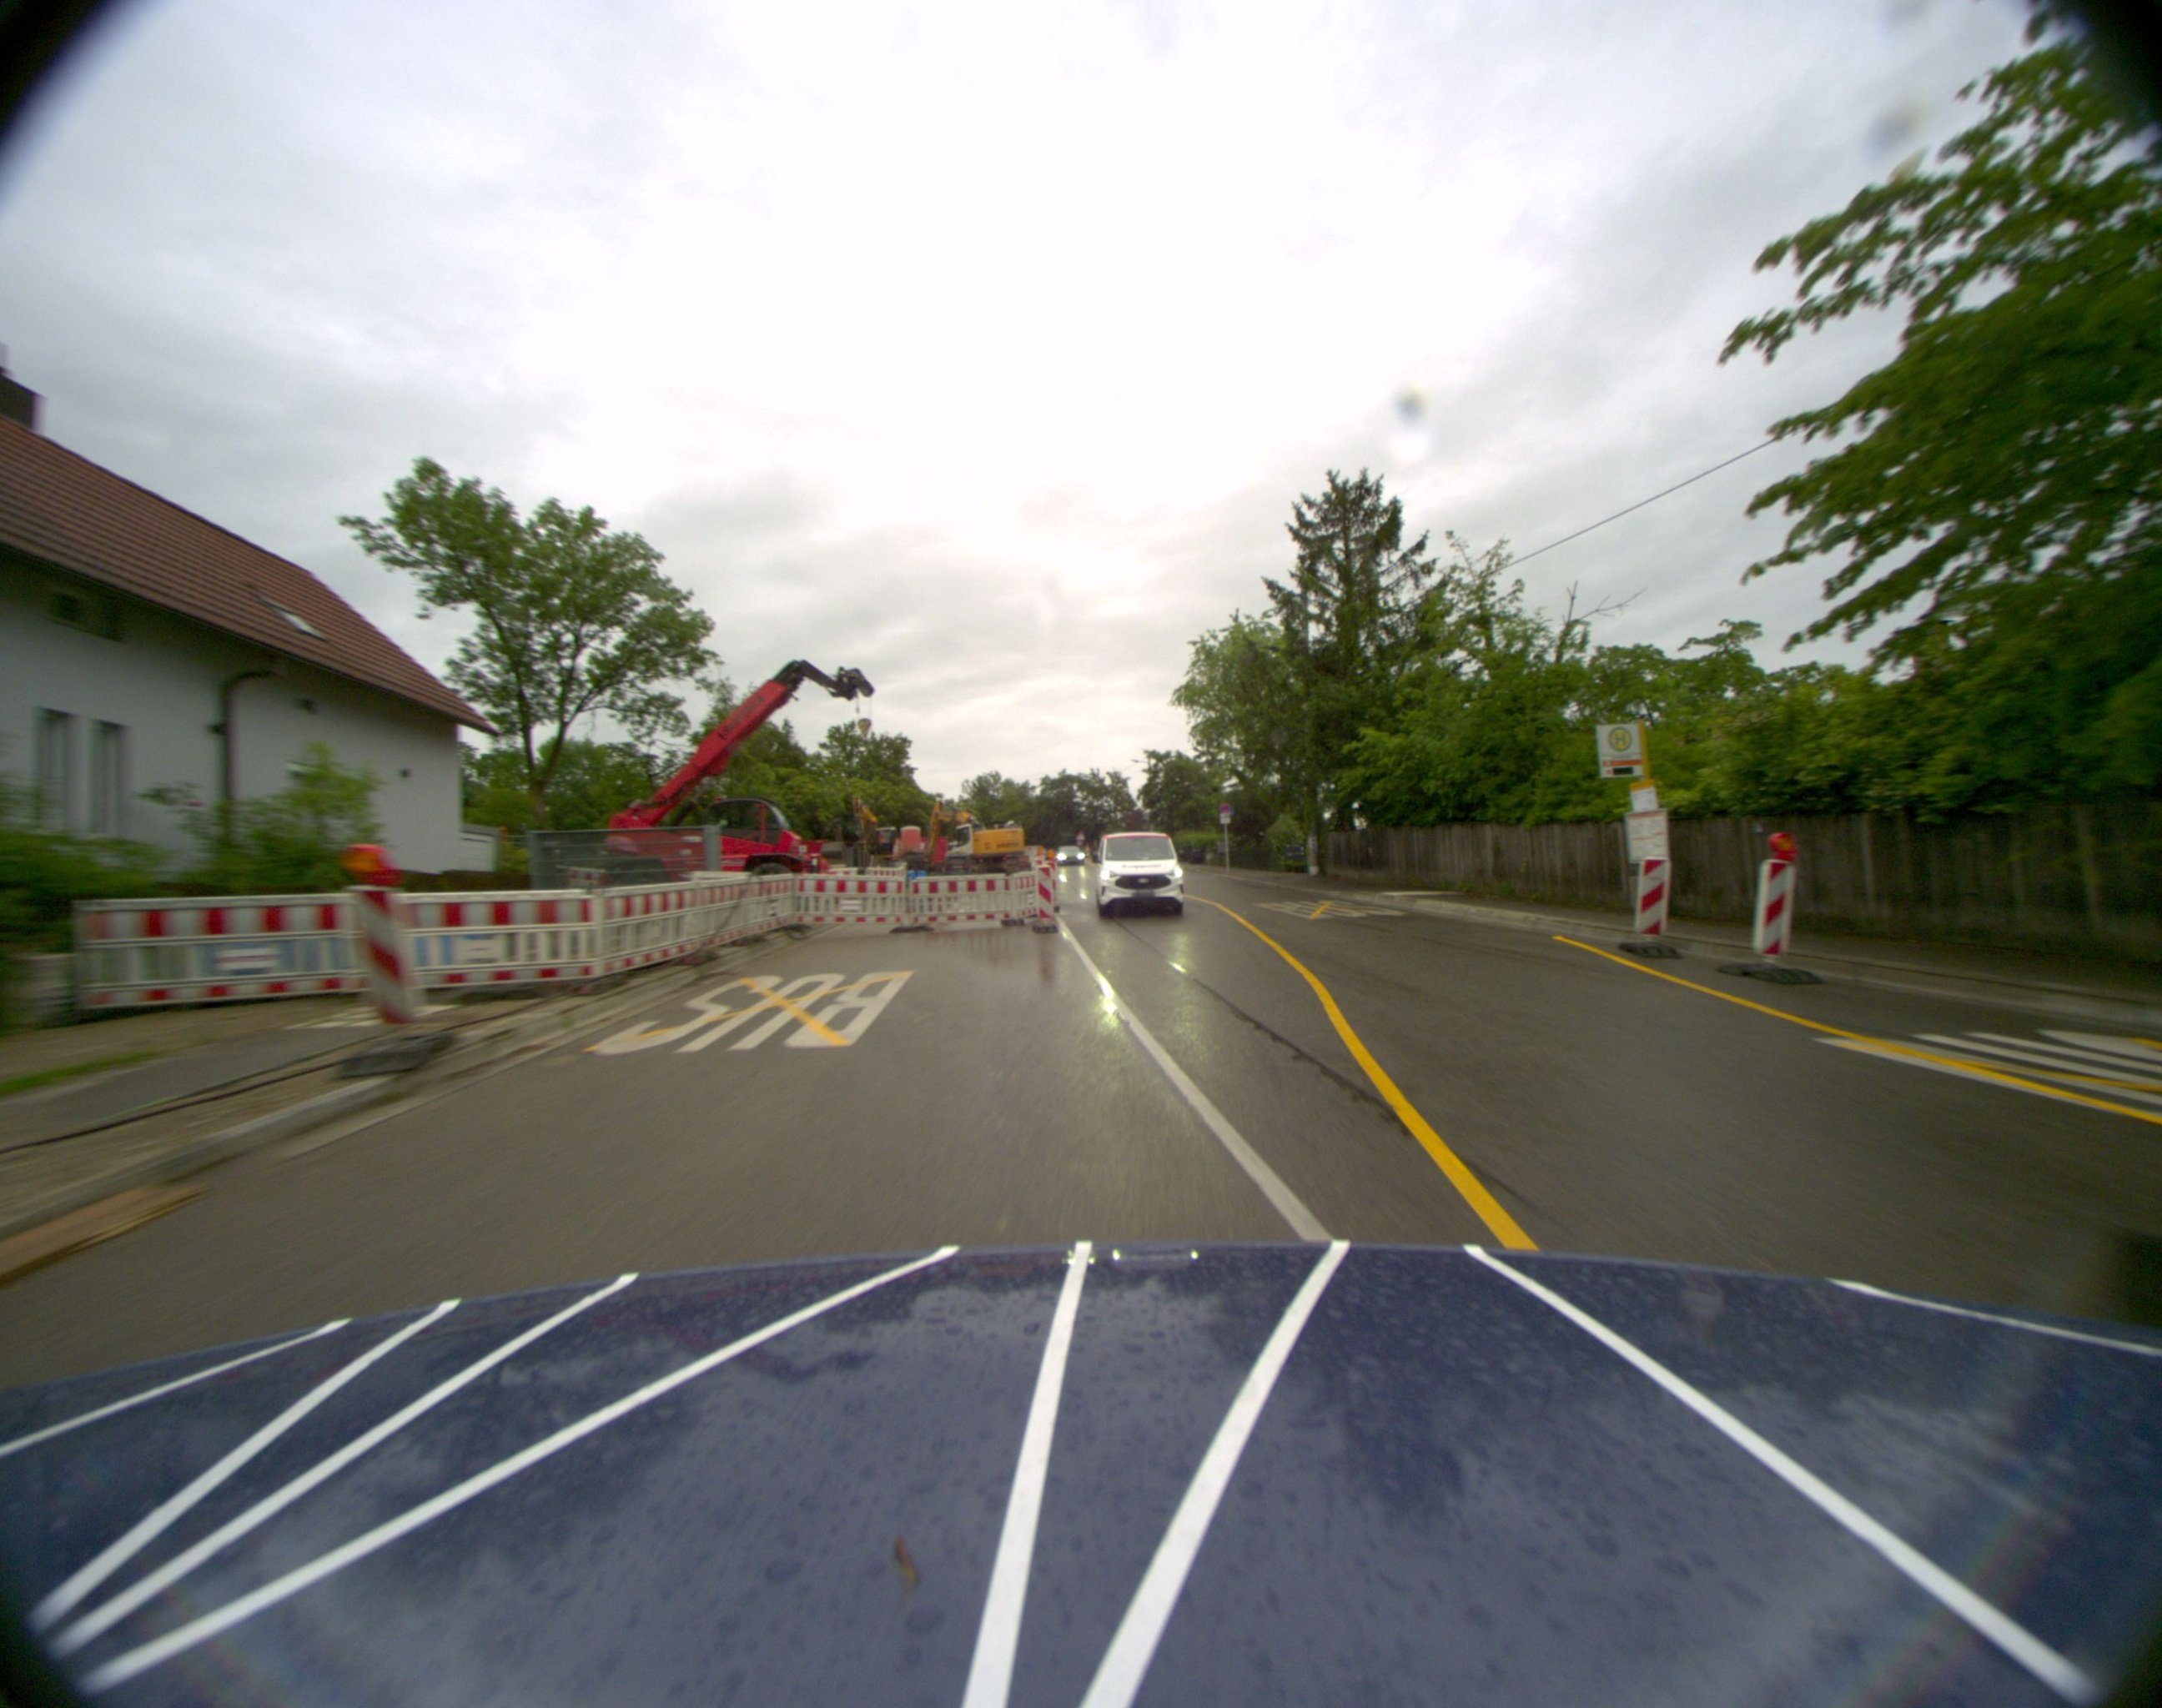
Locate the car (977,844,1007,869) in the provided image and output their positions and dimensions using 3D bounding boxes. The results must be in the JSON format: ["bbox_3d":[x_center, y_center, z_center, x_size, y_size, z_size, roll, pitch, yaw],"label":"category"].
[{"bbox_3d":[-6.893,0.169,59.200,1.999,1.769,4.995,-3,1,-4],"label":"car"}]

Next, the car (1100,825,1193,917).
[{"bbox_3d":[1.511,0.398,19.425,1.998,2.001,4.949,1,0,1],"label":"car"}]

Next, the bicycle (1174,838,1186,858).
[{"bbox_3d":[6.889,-0.420,52.940,0.421,1.342,1.741,-3,3,-4],"label":"bicycle"}]

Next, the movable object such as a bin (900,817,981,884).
[{"bbox_3d":[-7.586,-0.158,40.836,4.001,3.183,2.406,-3,-4,-13],"label":"movable object such as a bin"}]

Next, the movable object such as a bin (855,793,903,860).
[{"bbox_3d":[-12.428,-1.648,47.125,1.999,3.866,4.614,-3,1,-6],"label":"movable object such as a bin"}]

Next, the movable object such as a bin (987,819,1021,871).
[{"bbox_3d":[-5.304,-0.696,51.930,2.000,3.288,3.830,-2,4,-8],"label":"movable object such as a bin"}]

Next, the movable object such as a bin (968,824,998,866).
[{"bbox_3d":[-8.986,-0.747,69.459,2.083,3.205,5.283,-3,-4,-12],"label":"movable object such as a bin"}]

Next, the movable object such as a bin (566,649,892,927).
[{"bbox_3d":[-8.947,-1.718,20.288,6.971,6.652,3.042,-2,2,-8],"label":"movable object such as a bin"}]

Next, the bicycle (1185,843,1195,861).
[{"bbox_3d":[7.112,-0.138,49.661,0.339,1.101,1.255,-3,3,-4],"label":"bicycle"}]

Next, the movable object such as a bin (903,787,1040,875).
[{"bbox_3d":[-7.170,-1.510,47.762,3.072,4.893,10.787,-5,5,-40],"label":"movable object such as a bin"}]
